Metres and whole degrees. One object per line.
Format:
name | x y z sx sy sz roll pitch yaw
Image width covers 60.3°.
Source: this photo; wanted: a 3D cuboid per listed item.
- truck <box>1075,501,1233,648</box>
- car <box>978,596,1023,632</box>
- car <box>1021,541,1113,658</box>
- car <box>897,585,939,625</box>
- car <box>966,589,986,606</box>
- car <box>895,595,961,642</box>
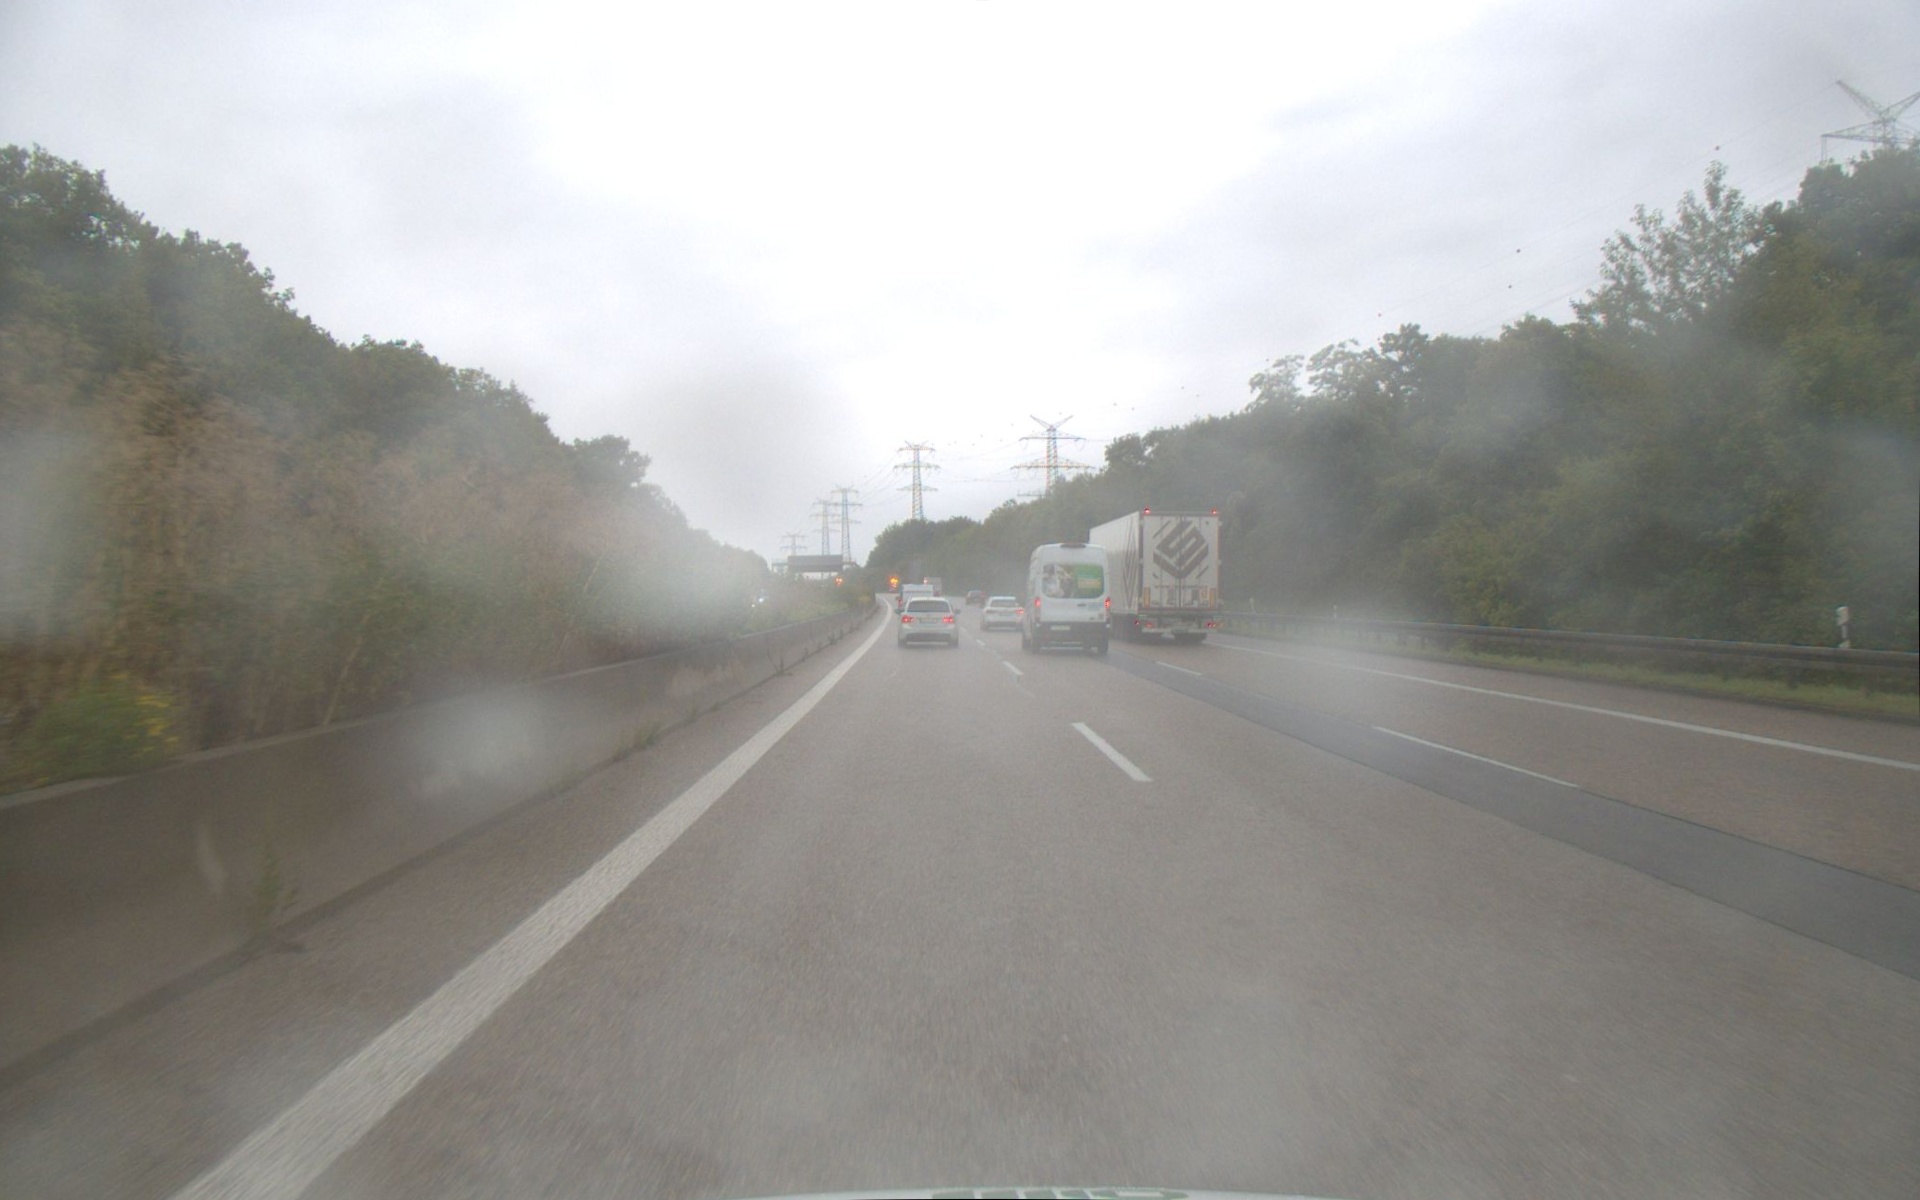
truck | 6.298 -0.729 56.284 3.530 4.408 13.196 0 0 -1
car | 1.702 0.570 69.205 1.818 1.447 4.001 0 0 2
car | 2.745 -0.021 43.245 1.954 2.914 3.998 0 0 -3
car | -1.975 0.211 78.682 1.808 1.803 4.001 -1 0 1
car | 1.639 -0.244 168.736 1.952 1.512 4.000 -3 -1 1
car | -0.923 0.517 48.056 1.828 1.311 3.999 0 0 -1
